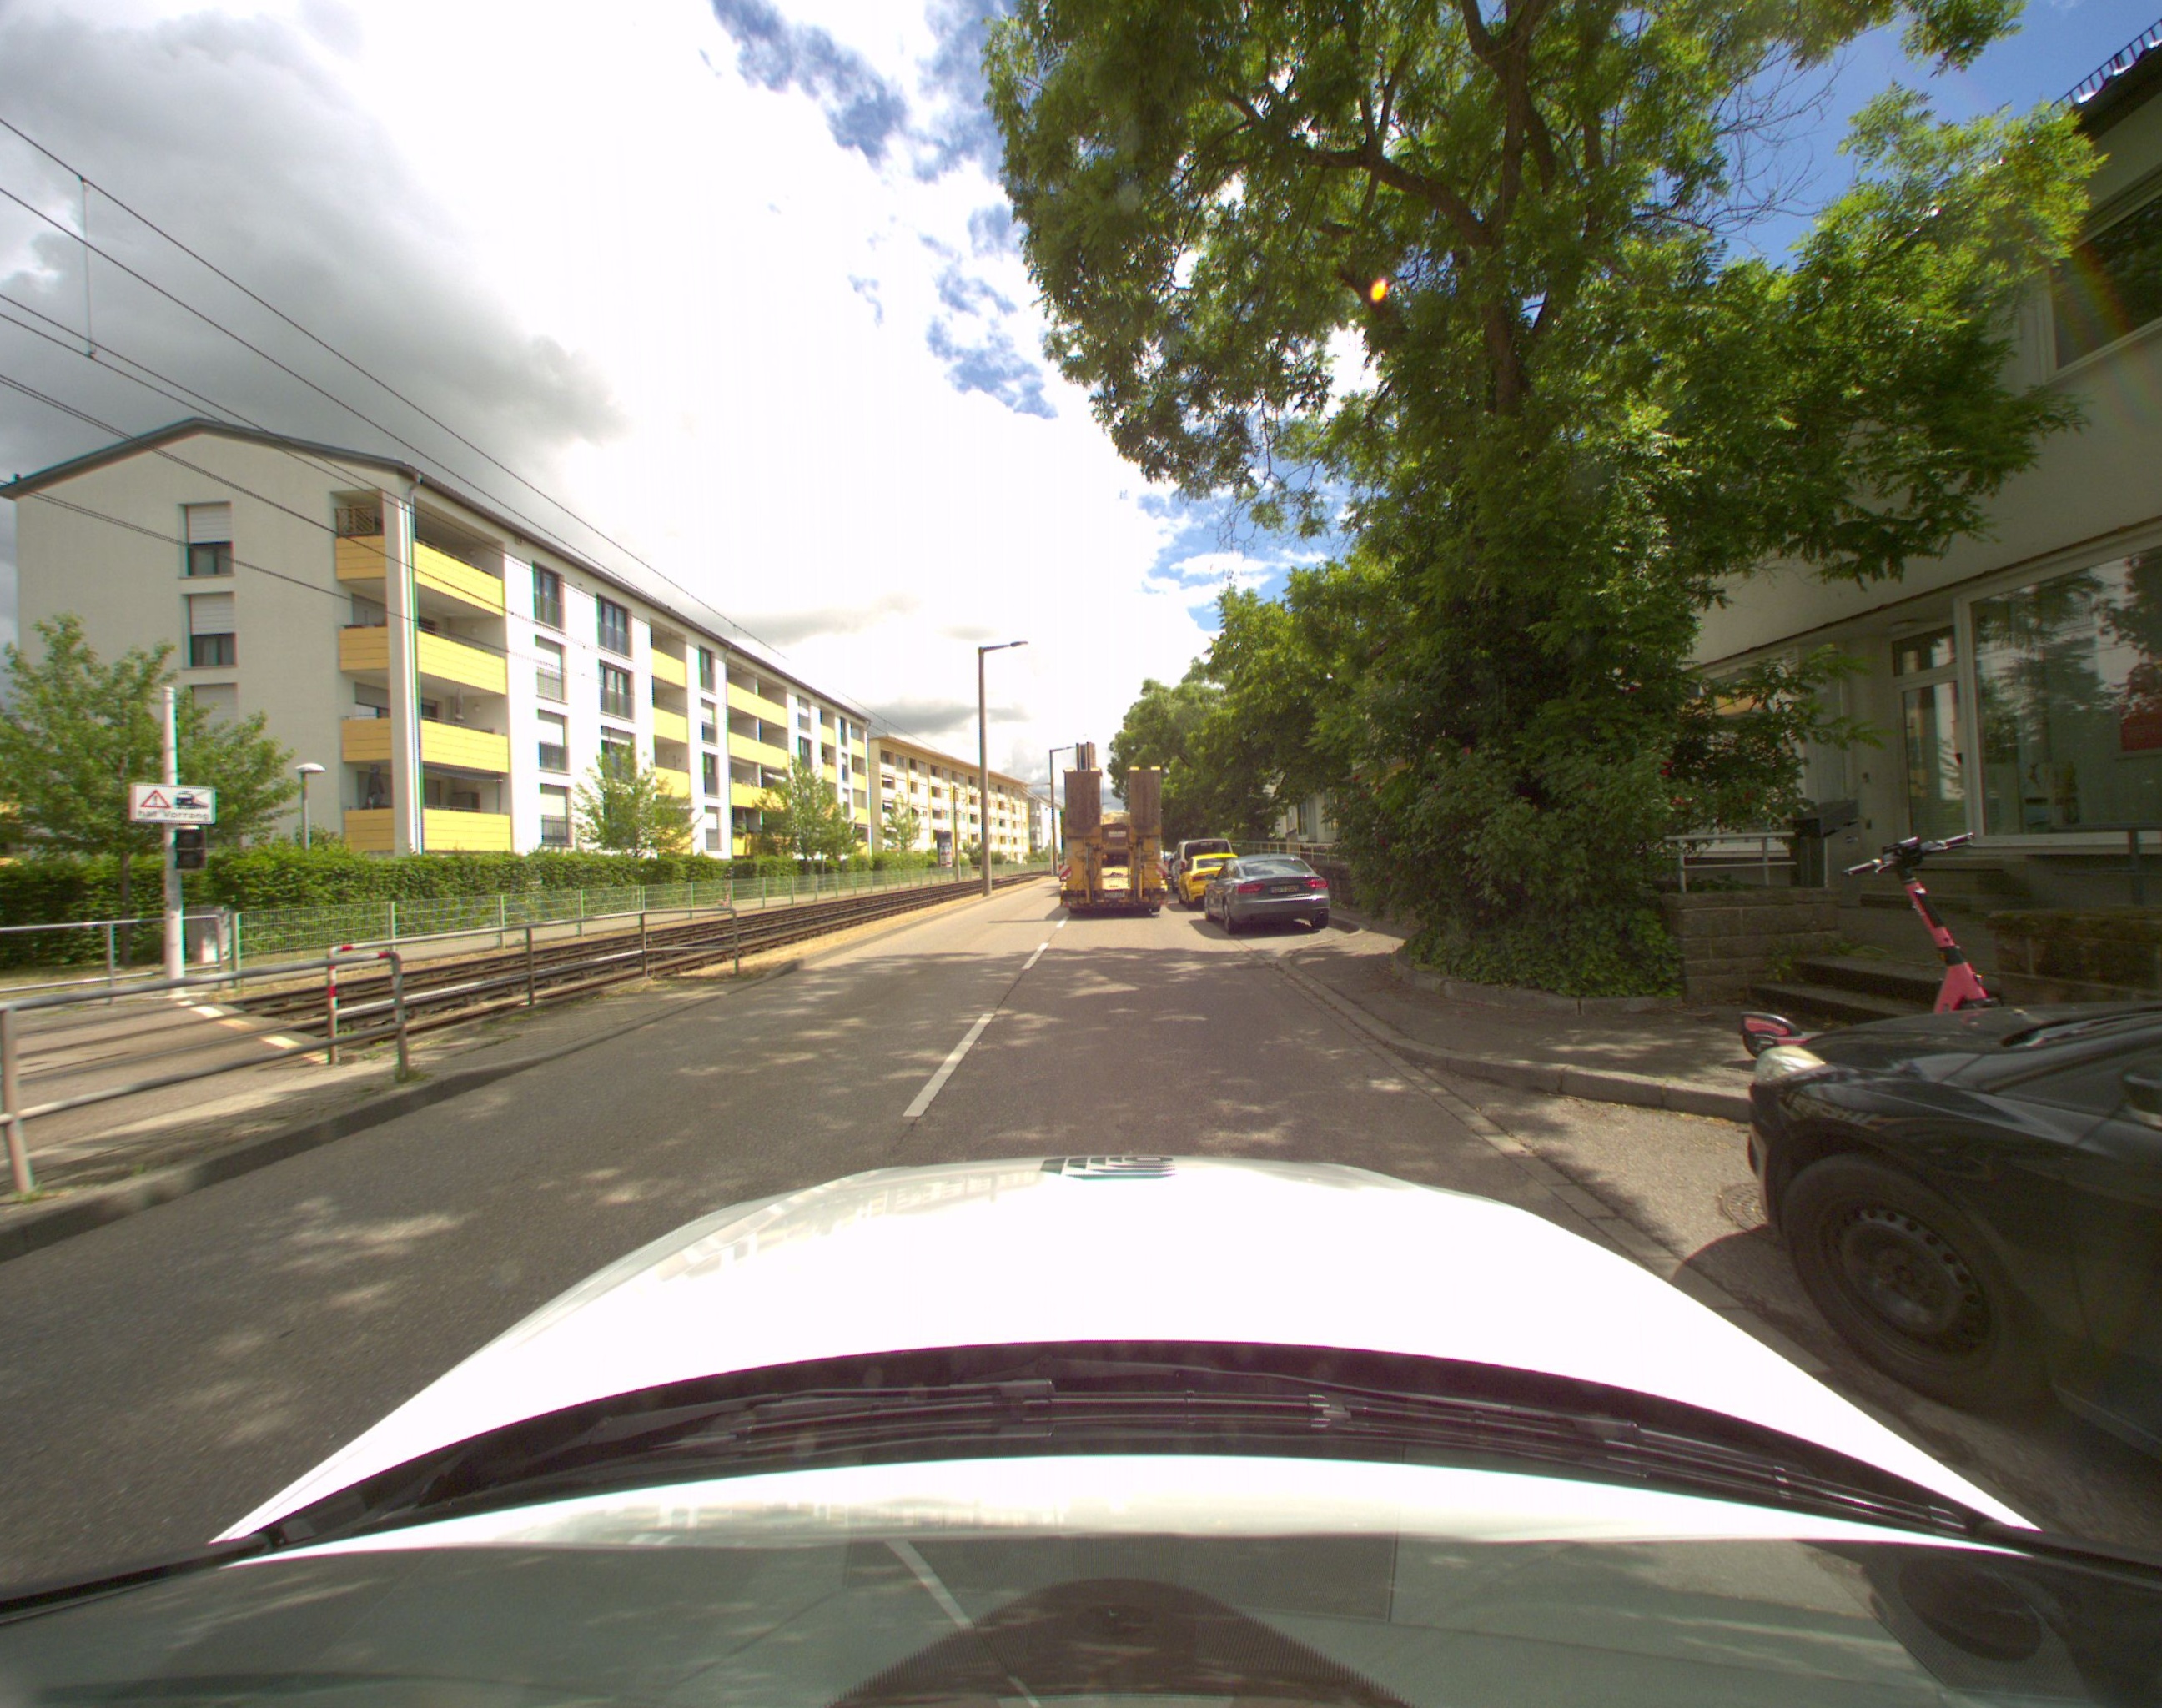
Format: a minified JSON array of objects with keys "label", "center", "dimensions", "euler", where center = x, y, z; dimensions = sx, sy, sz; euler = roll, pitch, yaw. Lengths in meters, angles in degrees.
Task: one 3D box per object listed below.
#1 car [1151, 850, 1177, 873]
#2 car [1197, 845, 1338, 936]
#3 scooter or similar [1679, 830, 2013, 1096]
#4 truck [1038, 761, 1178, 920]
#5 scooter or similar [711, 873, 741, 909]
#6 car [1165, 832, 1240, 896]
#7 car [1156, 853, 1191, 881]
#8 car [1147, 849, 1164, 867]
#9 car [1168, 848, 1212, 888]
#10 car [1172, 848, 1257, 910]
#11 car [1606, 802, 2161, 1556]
[{"label":"car","center":[6.464,0.561,63.146],"dimensions":[1.814,1.682,4.583],"euler":[-3,0,6]},{"label":"car","center":[3.479,0.629,16.036],"dimensions":[1.749,1.442,4.494],"euler":[-3,0,1]},{"label":"scooter or similar","center":[4.166,0.523,4.510],"dimensions":[0.538,1.242,1.223],"euler":[-3,1,-34]},{"label":"truck","center":[0.725,-0.309,24.984],"dimensions":[3.113,3.564,12.461],"euler":[-2,0,1]},{"label":"scooter or similar","center":[-13.595,1.392,31.199],"dimensions":[0.488,1.293,1.303],"euler":[-2,0,3]},{"label":"car","center":[4.213,0.340,29.105],"dimensions":[1.907,1.958,5.747],"euler":[-3,0,2]},{"label":"car","center":[5.277,0.704,46.988],"dimensions":[1.602,1.456,3.677],"euler":[-4,0,1]},{"label":"car","center":[8.782,0.507,96.507],"dimensions":[1.791,1.968,4.595],"euler":[-3,0,4]},{"label":"car","center":[4.615,0.582,34.684],"dimensions":[1.507,1.534,2.849],"euler":[-4,0,2]},{"label":"car","center":[3.600,0.634,22.651],"dimensions":[1.748,1.442,4.343],"euler":[-4,0,2]},{"label":"car","center":[3.034,0.605,1.152],"dimensions":[1.828,1.505,4.243],"euler":[-3,0,1]}]
